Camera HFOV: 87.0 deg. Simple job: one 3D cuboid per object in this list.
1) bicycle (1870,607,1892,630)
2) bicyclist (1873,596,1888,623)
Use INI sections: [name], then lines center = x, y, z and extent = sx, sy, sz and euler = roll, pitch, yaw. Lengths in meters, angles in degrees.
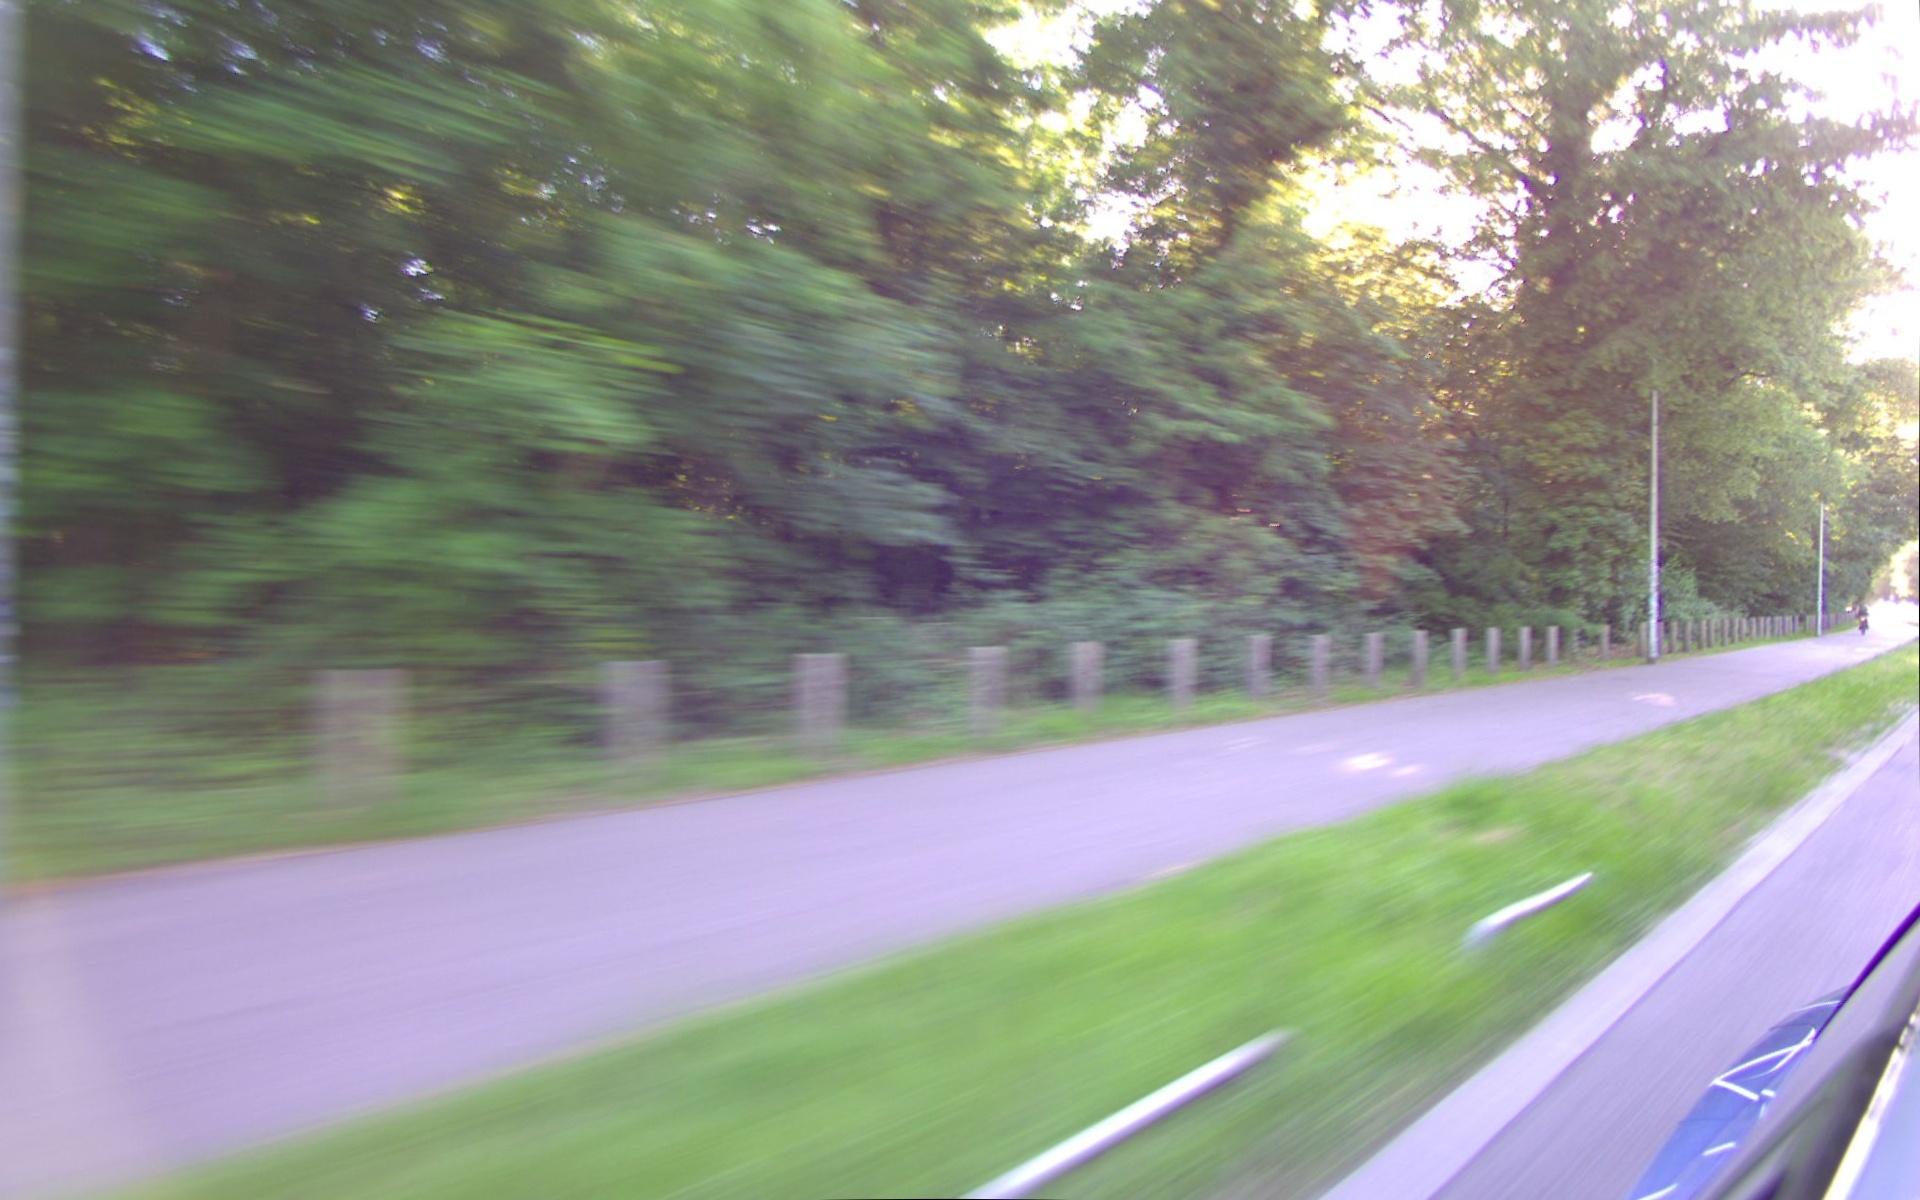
[bicycle]
center = 44.961, 0.890, 49.390
extent = 2.827, 1.070, 0.607
euler = 1, 0, -44
[bicyclist]
center = 44.768, 0.462, 49.221
extent = 0.489, 1.283, 0.513
euler = 1, 0, -44
